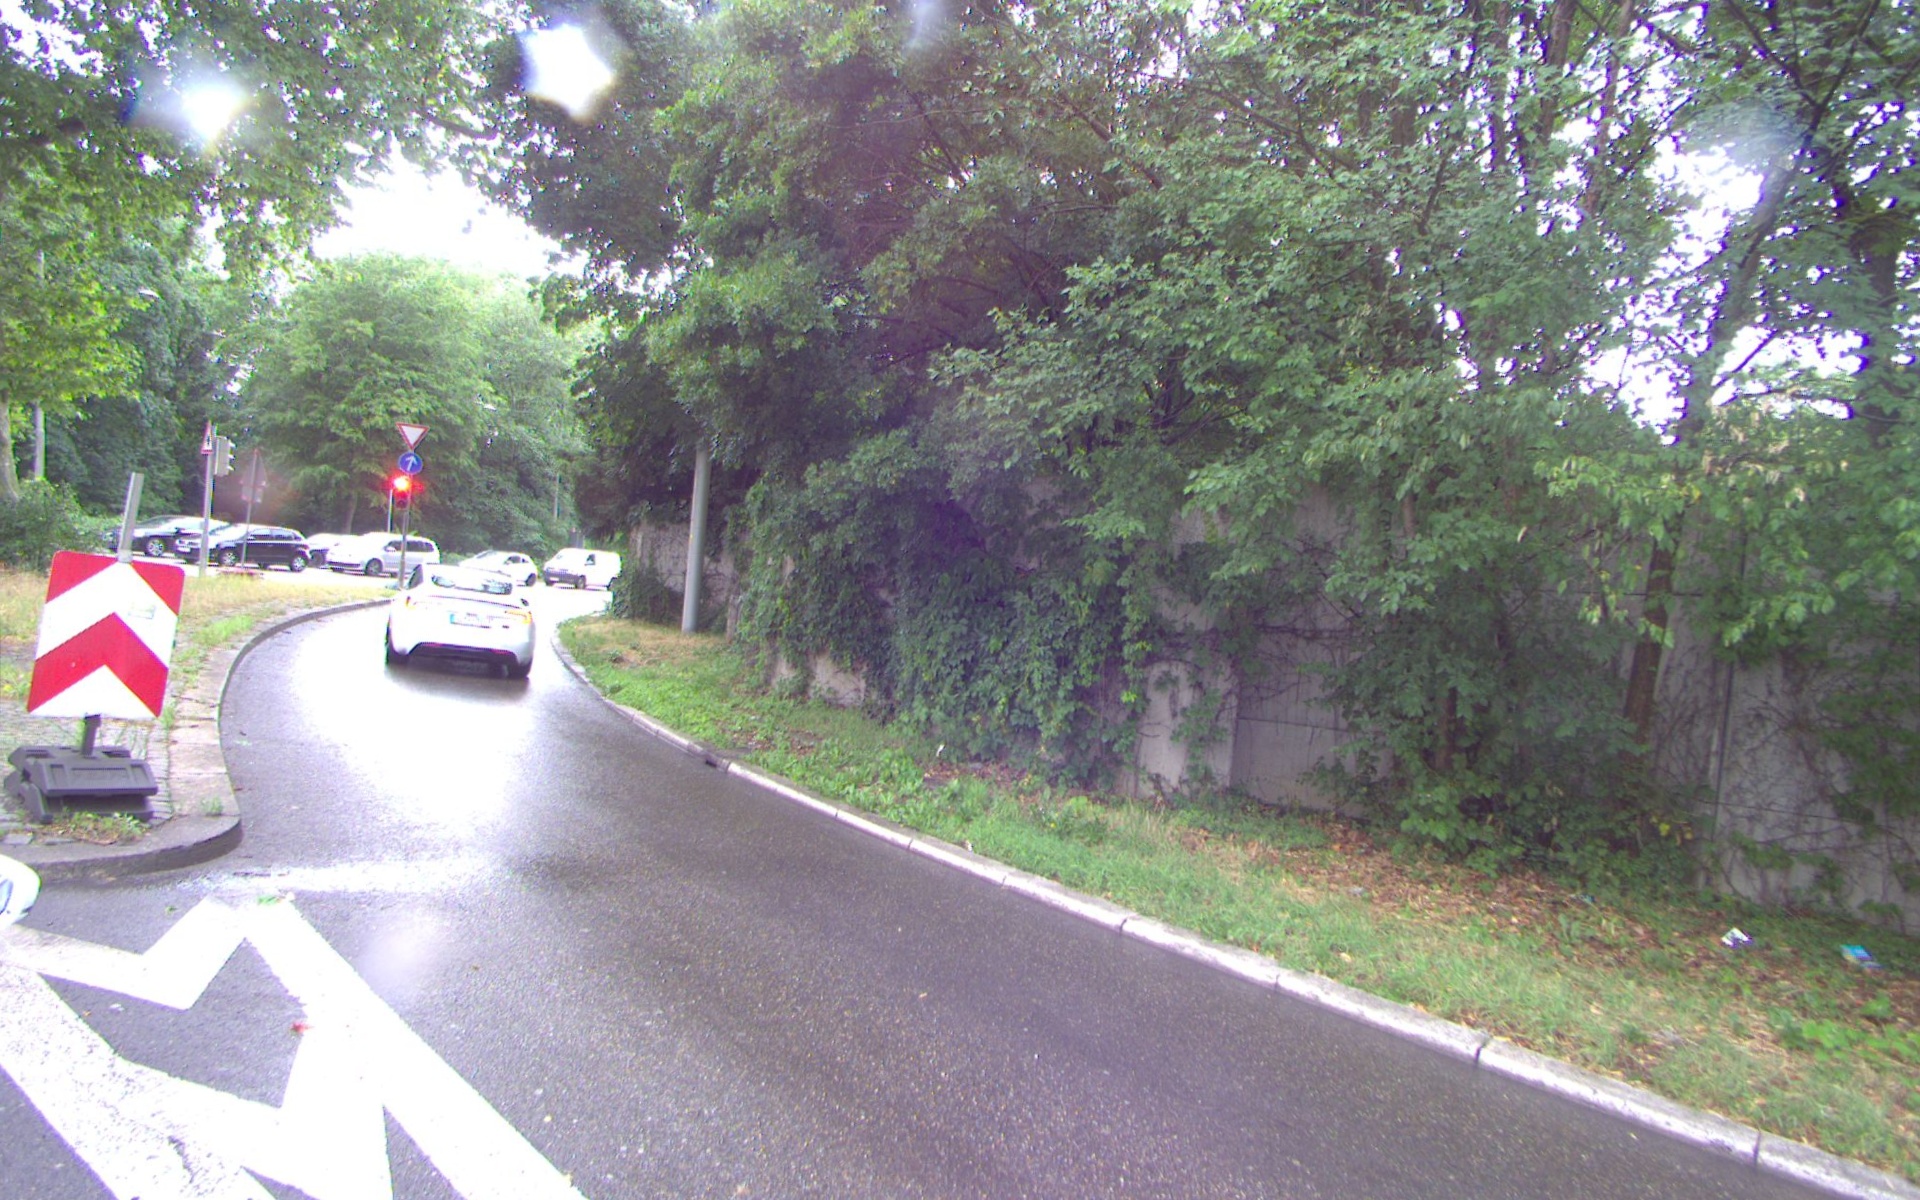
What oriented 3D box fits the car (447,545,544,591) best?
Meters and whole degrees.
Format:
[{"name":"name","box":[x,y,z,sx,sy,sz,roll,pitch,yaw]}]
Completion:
[{"name":"car","box":[-20.548,-1.370,44.689,1.627,1.478,3.869,7,-2,16]}]

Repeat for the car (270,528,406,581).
[{"name":"car","box":[-24.803,-1.778,40.302,1.795,1.418,4.452,7,-2,16]}]

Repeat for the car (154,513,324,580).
[{"name":"car","box":[-23.315,-1.683,32.732,1.759,1.477,4.205,7,-2,16]}]

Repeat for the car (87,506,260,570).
[{"name":"car","box":[-26.669,-2.053,34.318,1.913,1.457,4.218,7,-2,16]}]

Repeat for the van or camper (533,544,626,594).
[{"name":"van or camper","box":[-19.148,-1.500,50.911,1.870,1.970,4.870,7,-1,13]}]

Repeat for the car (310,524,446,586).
[{"name":"car","box":[-22.078,-1.652,38.338,1.871,1.699,4.216,7,-2,16]}]

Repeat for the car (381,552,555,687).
[{"name":"car","box":[-7.605,0.198,15.297,1.841,1.464,4.581,11,-3,-30]}]
